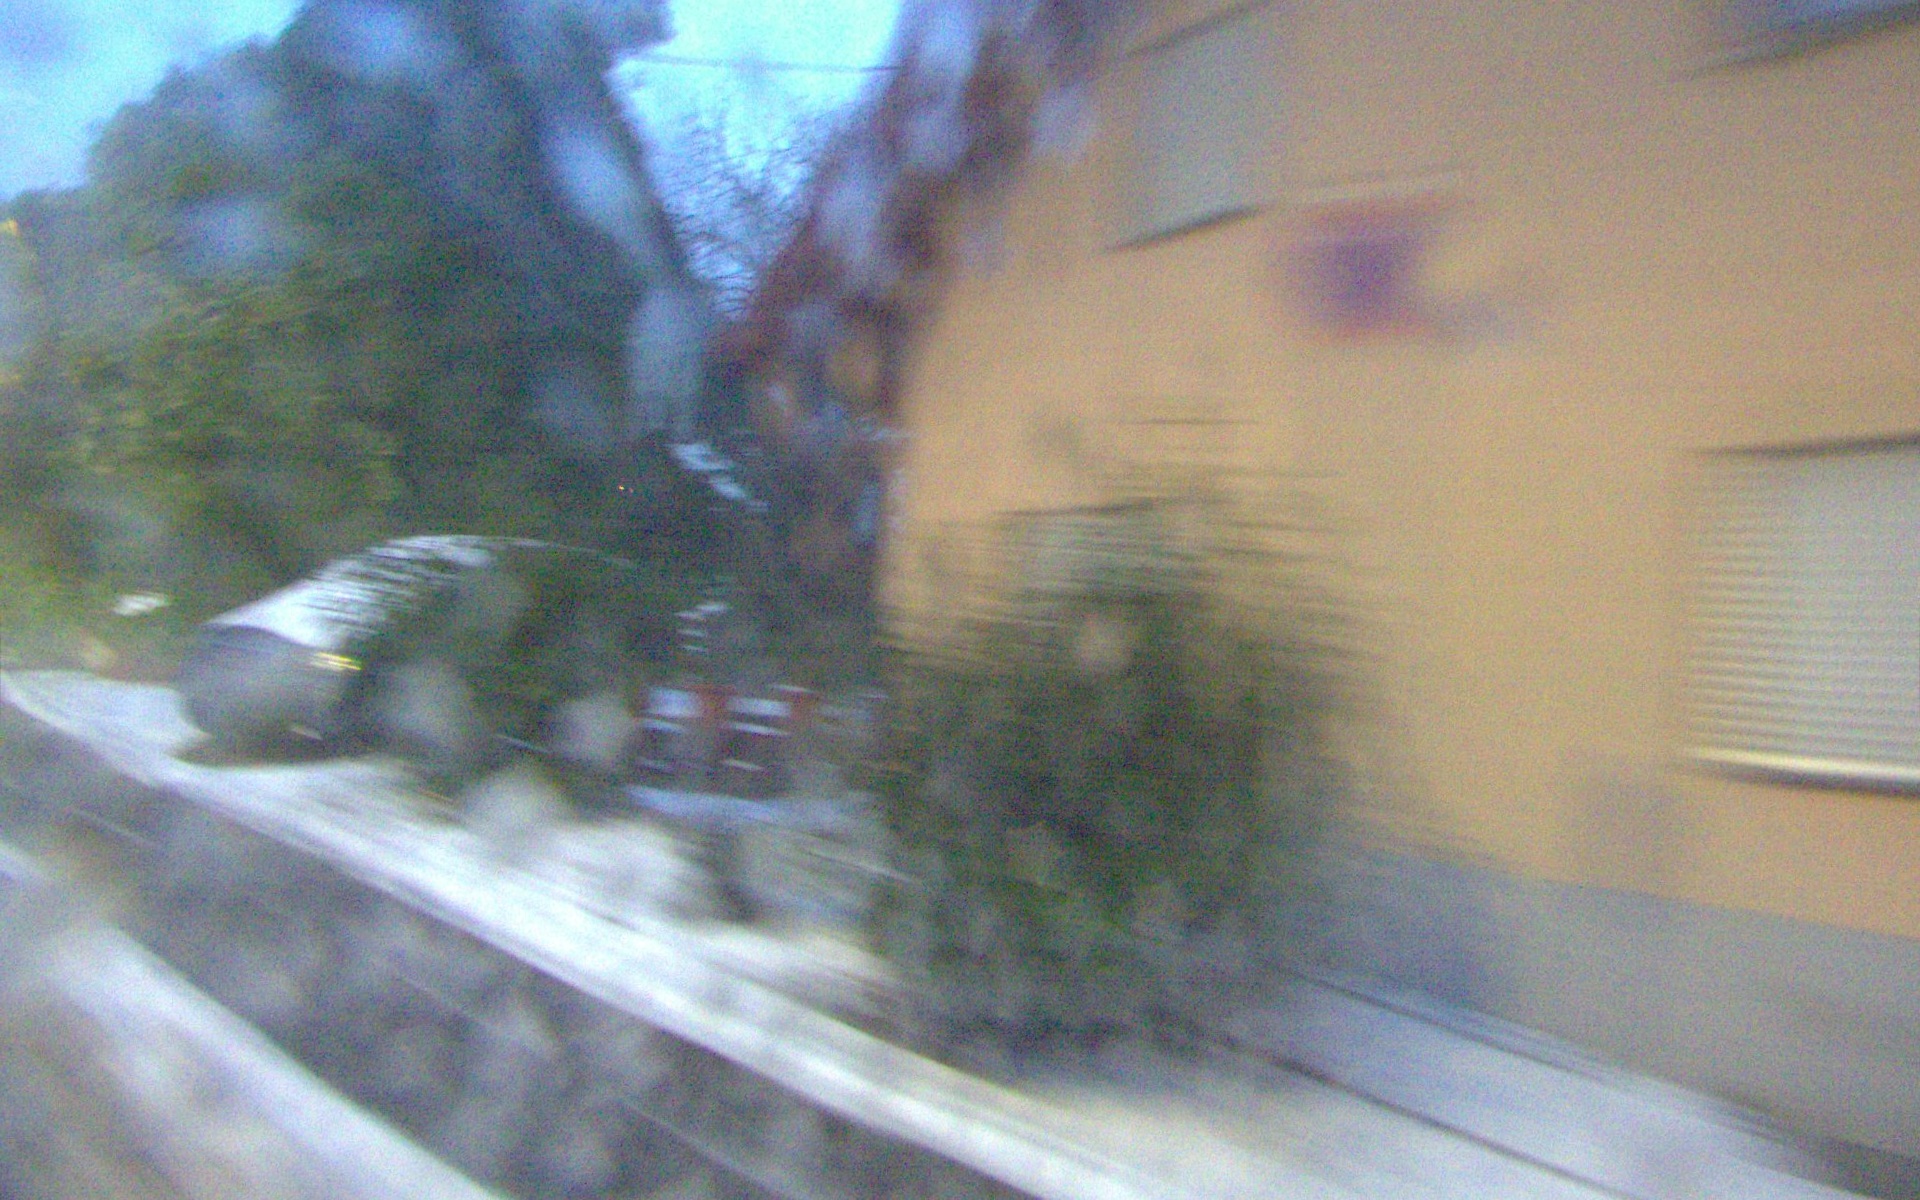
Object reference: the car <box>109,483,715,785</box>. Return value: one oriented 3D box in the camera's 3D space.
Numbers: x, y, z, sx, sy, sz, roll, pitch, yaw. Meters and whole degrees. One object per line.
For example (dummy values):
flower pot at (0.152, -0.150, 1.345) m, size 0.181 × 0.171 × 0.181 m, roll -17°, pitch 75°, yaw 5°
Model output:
car at (-3.960, 0.328, 8.152) m, size 1.810 × 1.709 × 4.004 m, roll 5°, pitch -3°, yaw 20°
